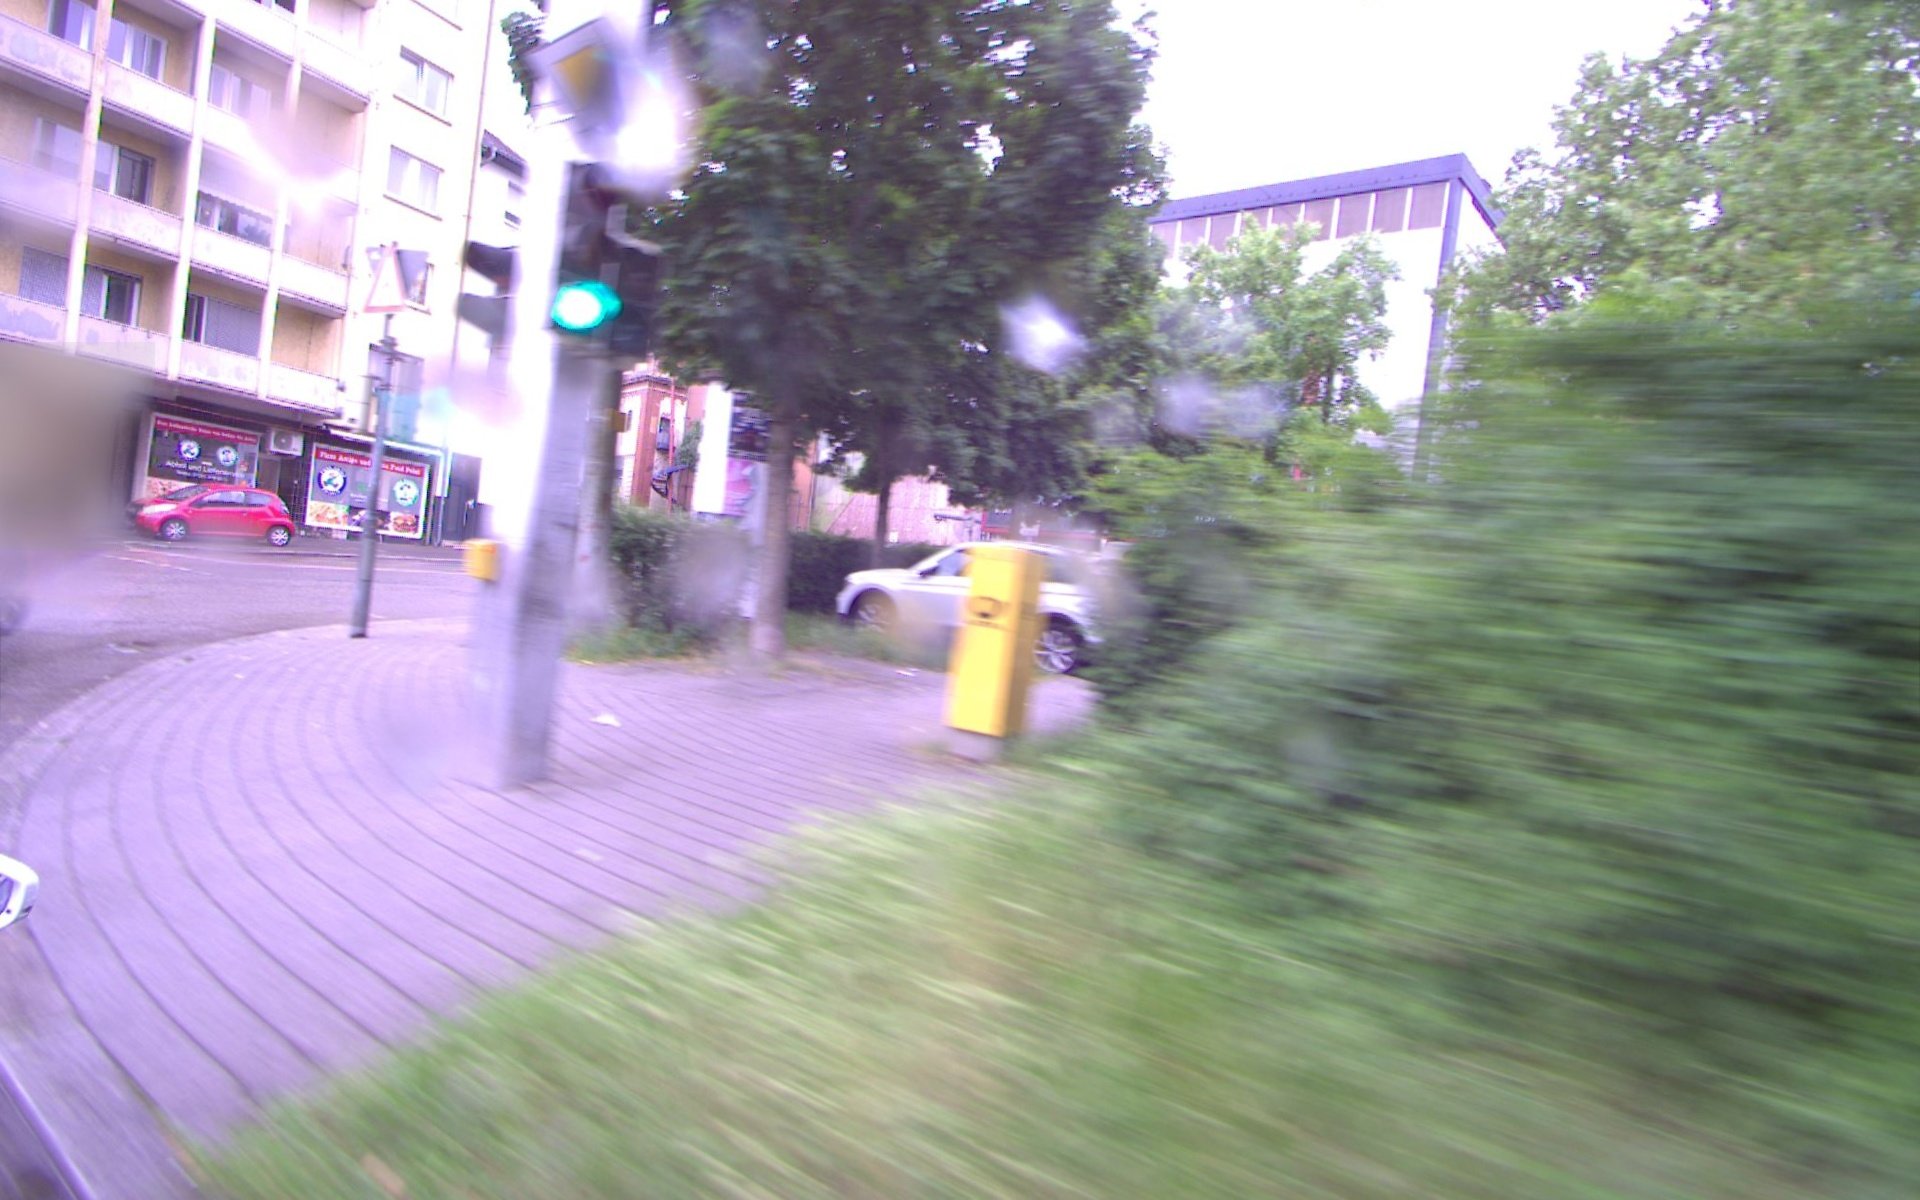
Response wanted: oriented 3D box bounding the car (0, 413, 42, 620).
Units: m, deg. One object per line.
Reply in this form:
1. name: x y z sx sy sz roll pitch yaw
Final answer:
1. car: -8.267 -0.615 7.044 1.944 1.677 3.962 4 6 -31

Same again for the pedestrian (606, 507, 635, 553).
1. pedestrian: -16.093 -3.300 47.684 0.985 2.040 1.244 5 3 -27

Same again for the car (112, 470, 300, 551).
1. car: -19.097 -2.223 25.608 1.447 1.578 3.474 9 3 28

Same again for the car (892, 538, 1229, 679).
1. car: 1.526 0.053 15.756 4.822 1.573 1.805 7 4 25

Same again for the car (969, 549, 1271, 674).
1. car: 2.779 0.127 17.720 4.822 1.573 1.805 7 4 25

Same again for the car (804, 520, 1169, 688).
1. car: 0.318 -0.046 13.773 4.552 1.696 1.804 7 5 25

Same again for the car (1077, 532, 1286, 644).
1. car: 4.919 -0.296 22.515 3.937 2.041 1.991 7 3 35
